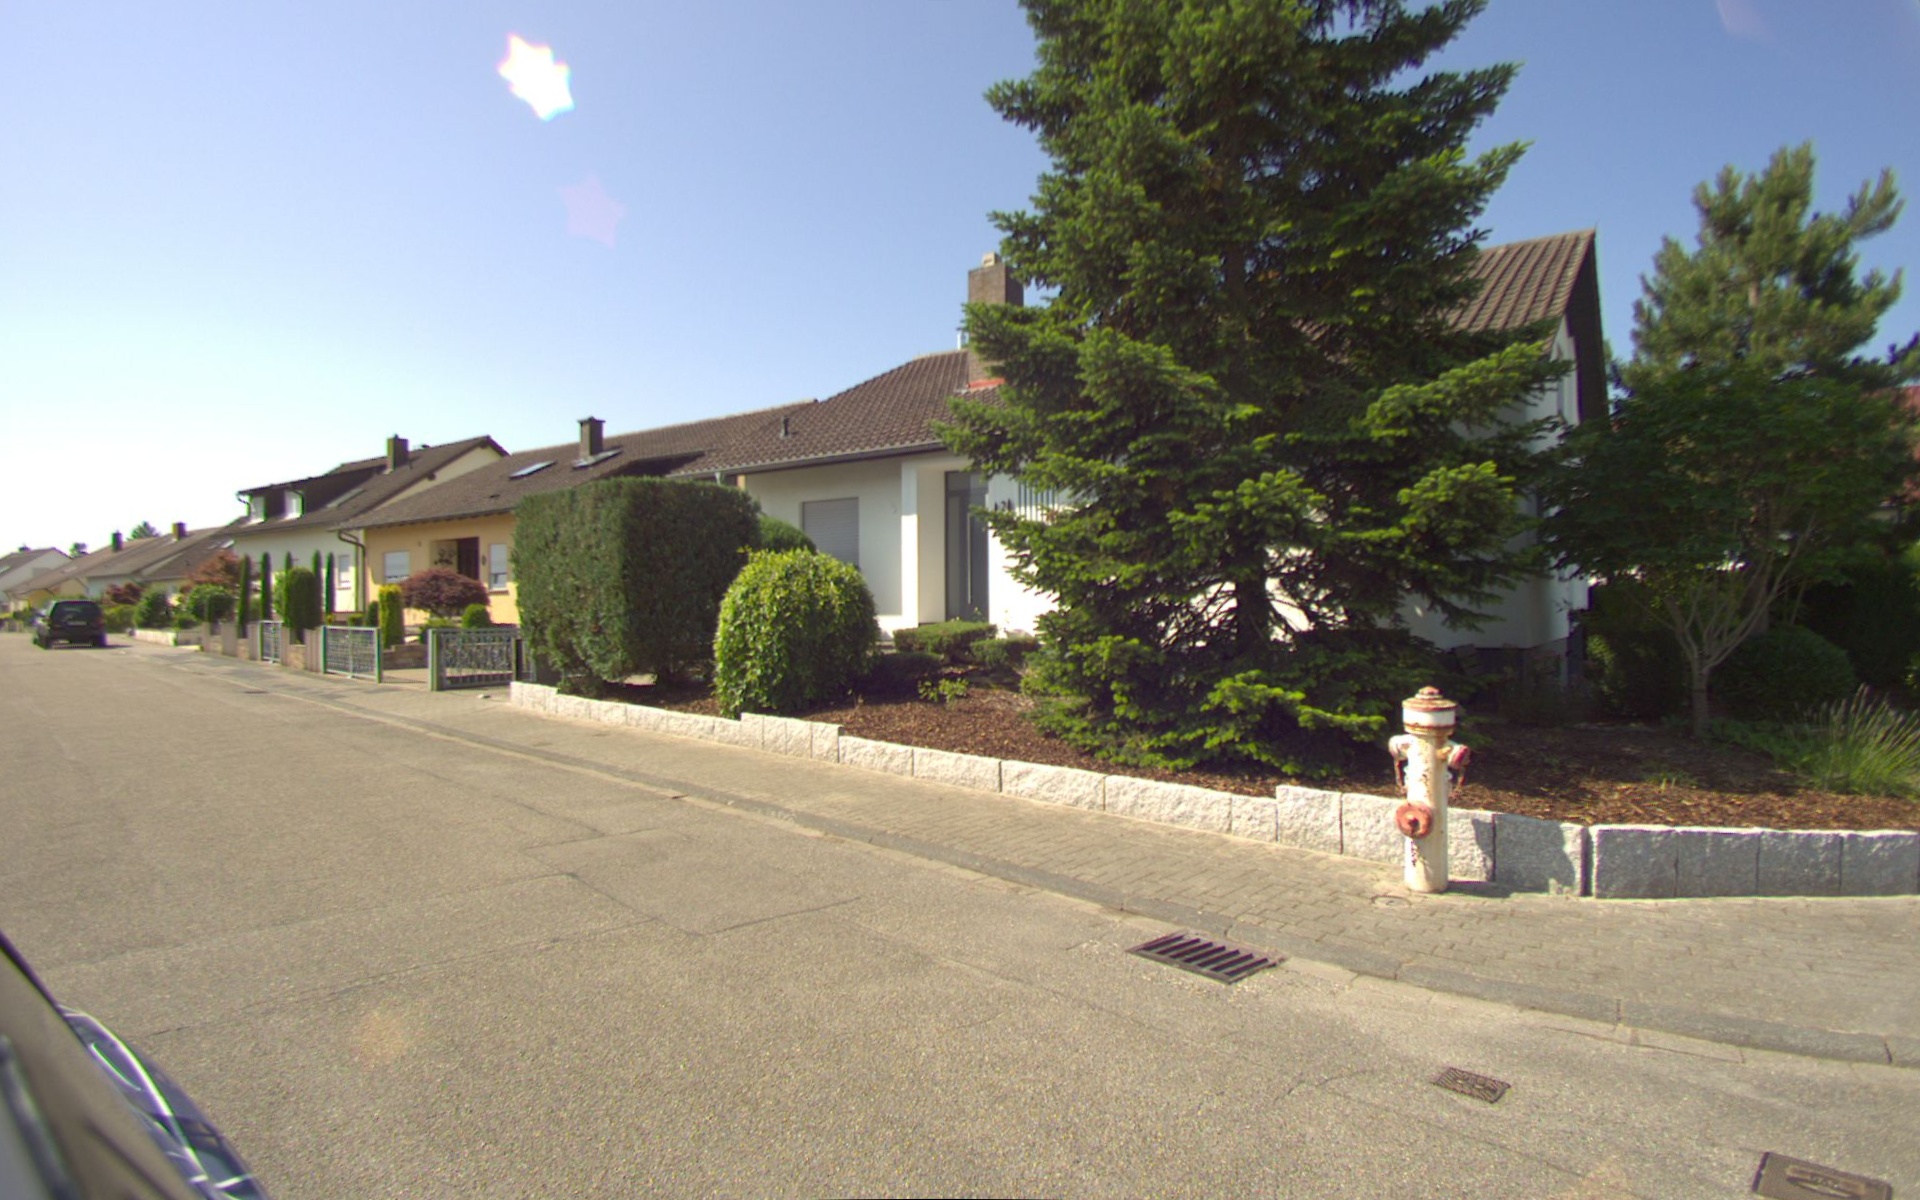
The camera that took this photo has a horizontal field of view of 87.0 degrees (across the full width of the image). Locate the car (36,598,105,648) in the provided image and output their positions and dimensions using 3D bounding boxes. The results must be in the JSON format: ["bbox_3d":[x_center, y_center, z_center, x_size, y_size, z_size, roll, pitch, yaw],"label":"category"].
[{"bbox_3d":[-33.674,0.856,38.296,1.744,1.791,3.654,-1,0,-45],"label":"car"}]
